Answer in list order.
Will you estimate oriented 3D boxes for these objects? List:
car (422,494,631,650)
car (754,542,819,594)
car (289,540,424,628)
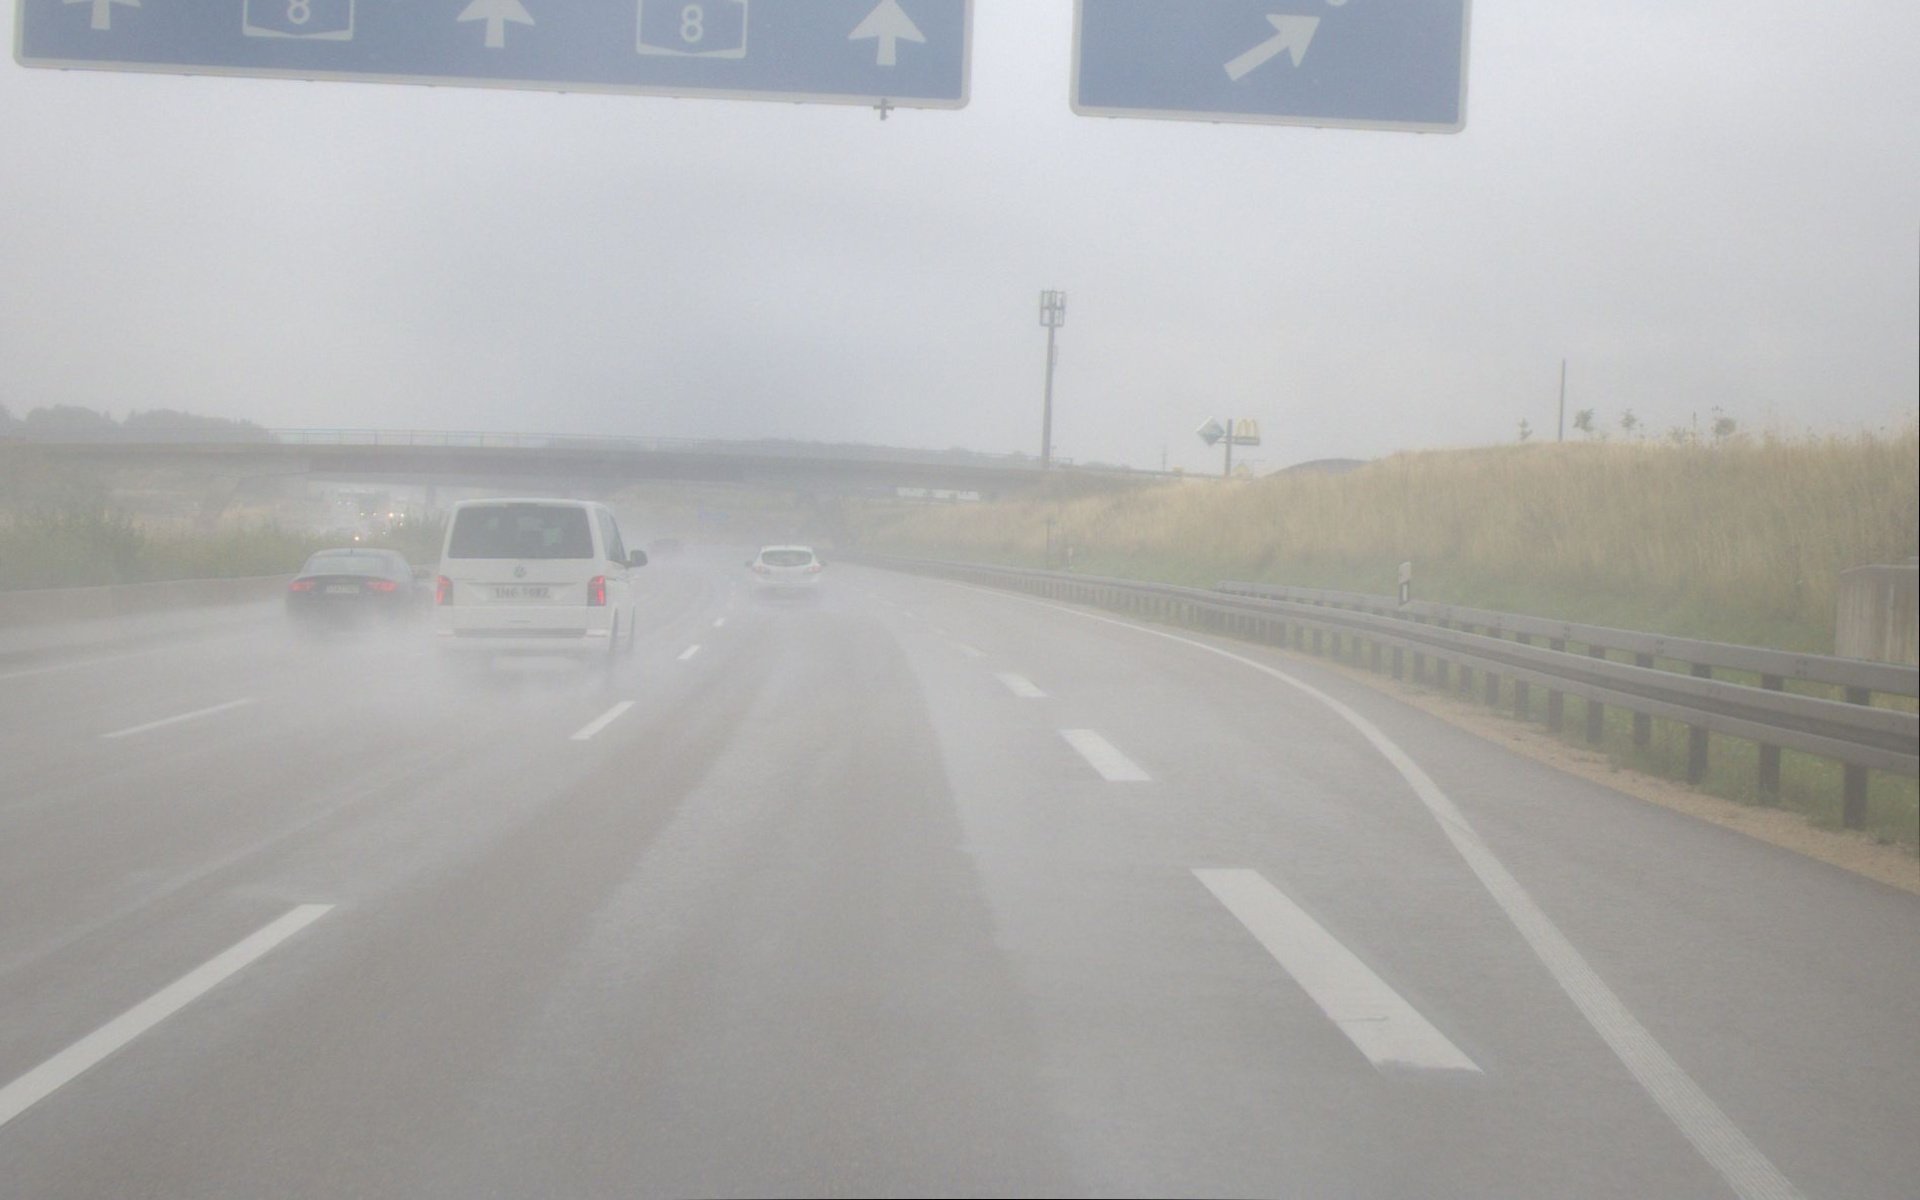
[{"bbox_3d":[-4.690,-0.316,37.680,1.897,1.580,4.000,1,1,-2],"label":"car"},{"bbox_3d":[-4.126,-0.770,81.457,1.467,1.204,2.992,1,1,-4],"label":"car"},{"bbox_3d":[-8.996,-0.255,51.418,1.468,1.253,3.340,0,1,-1],"label":"car"}]
